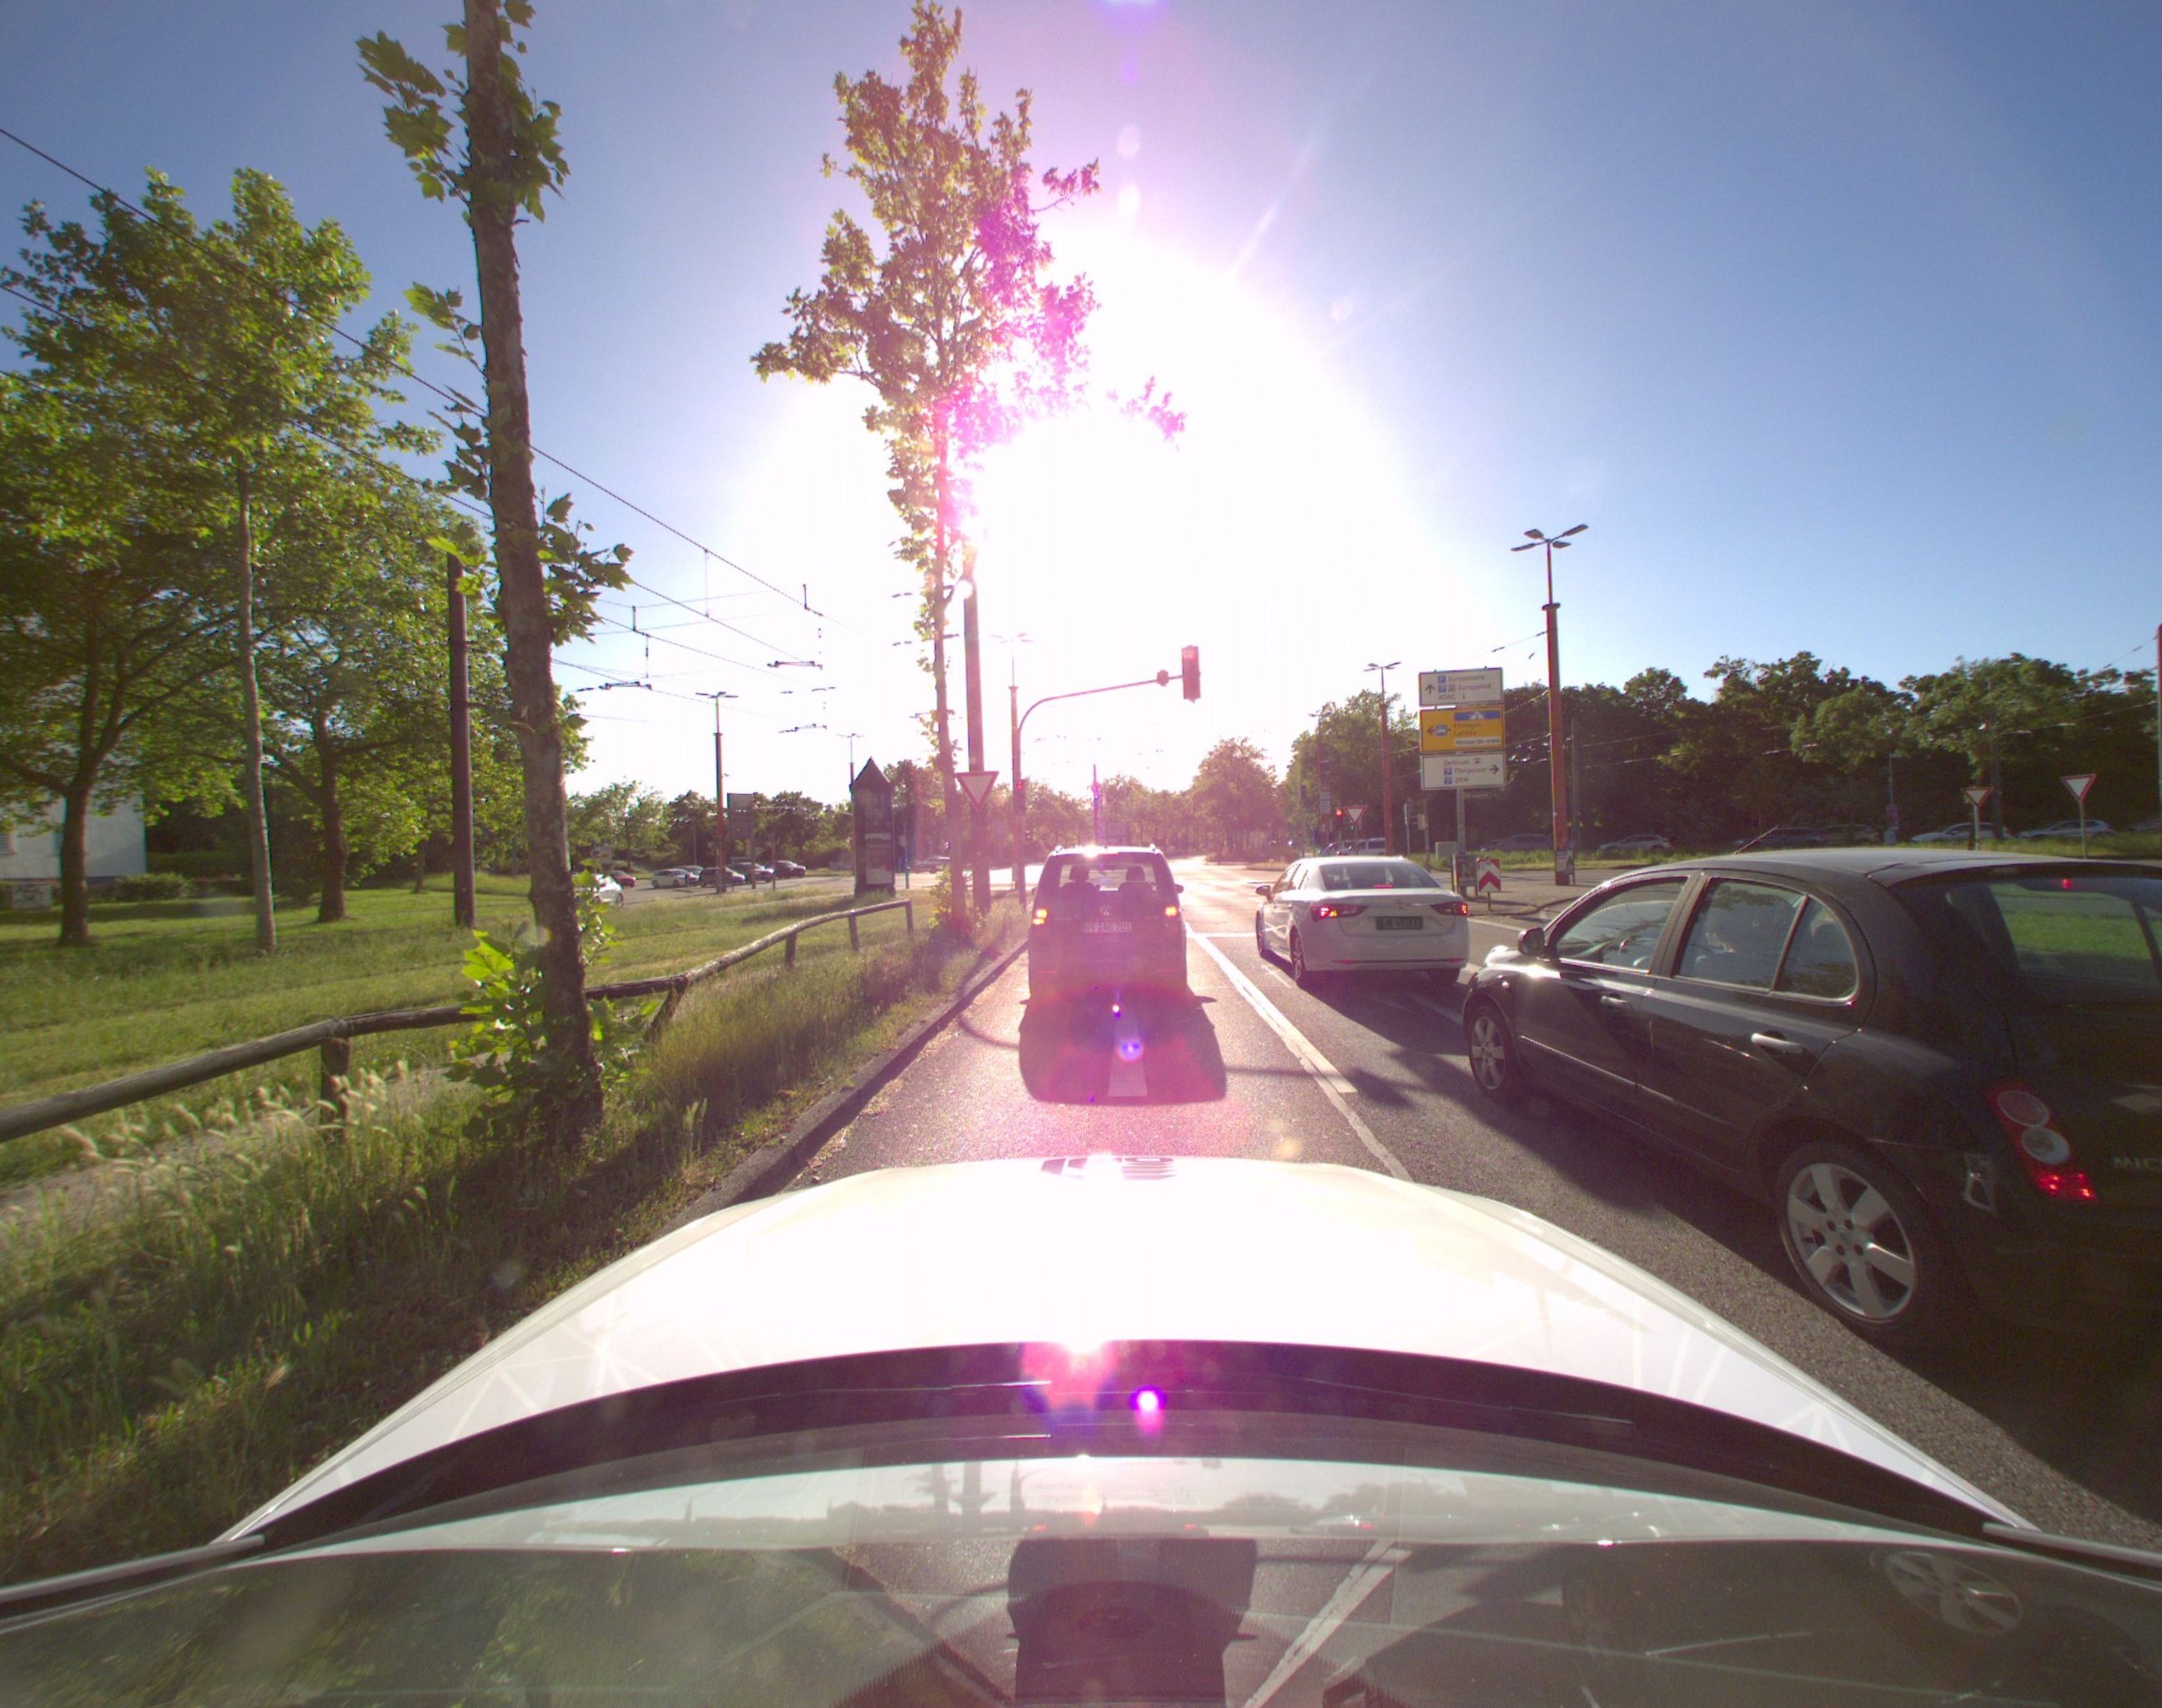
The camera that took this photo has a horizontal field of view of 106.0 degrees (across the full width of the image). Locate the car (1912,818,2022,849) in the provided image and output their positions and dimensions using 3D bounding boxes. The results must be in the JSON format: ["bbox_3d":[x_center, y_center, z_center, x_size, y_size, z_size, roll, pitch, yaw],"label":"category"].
[{"bbox_3d":[49.085,-1.116,45.239,3.782,1.523,1.706,-2,0,31],"label":"car"}]

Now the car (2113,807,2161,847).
[{"bbox_3d":[56.331,-1.413,41.265,4.526,2.013,2.013,-2,0,33],"label":"car"}]

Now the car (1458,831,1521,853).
[{"bbox_3d":[29.825,-0.835,59.448,4.082,1.511,1.834,0,-1,28],"label":"car"}]

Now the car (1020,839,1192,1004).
[{"bbox_3d":[0.304,0.681,10.155,1.694,1.621,3.898,-2,0,1],"label":"car"}]

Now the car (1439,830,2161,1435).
[{"bbox_3d":[3.235,0.685,3.818,1.647,1.500,3.617,-1,0,2],"label":"car"}]

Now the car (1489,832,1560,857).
[{"bbox_3d":[30.253,-0.637,55.631,4.139,1.644,1.770,0,-1,28],"label":"car"}]

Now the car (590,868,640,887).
[{"bbox_3d":[-39.236,1.951,68.577,3.949,1.513,1.743,-2,0,27],"label":"car"}]

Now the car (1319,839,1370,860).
[{"bbox_3d":[20.928,-0.315,64.692,3.608,1.655,1.690,0,-1,27],"label":"car"}]

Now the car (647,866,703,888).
[{"bbox_3d":[-32.392,1.825,64.908,4.135,1.612,1.880,-2,0,27],"label":"car"}]

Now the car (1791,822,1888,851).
[{"bbox_3d":[47.177,-1.056,50.760,4.080,1.644,1.864,-2,0,31],"label":"car"}]

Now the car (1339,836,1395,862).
[{"bbox_3d":[21.331,-0.367,60.754,3.797,1.890,1.774,0,-1,25],"label":"car"}]

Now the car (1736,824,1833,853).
[{"bbox_3d":[42.310,-0.894,49.099,4.080,1.598,1.840,-2,0,29],"label":"car"}]

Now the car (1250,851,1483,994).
[{"bbox_3d":[3.332,0.699,10.373,1.713,1.438,4.202,-1,0,3],"label":"car"}]

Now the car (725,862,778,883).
[{"bbox_3d":[-26.543,1.500,65.574,3.948,1.644,2.013,-2,0,33],"label":"car"}]

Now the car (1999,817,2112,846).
[{"bbox_3d":[54.540,-1.259,45.673,3.700,1.473,1.610,-2,0,28],"label":"car"}]

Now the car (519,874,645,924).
[{"bbox_3d":[-17.924,1.554,29.530,1.799,1.522,4.332,-2,0,1],"label":"car"}]

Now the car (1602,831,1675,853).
[{"bbox_3d":[37.616,-0.794,55.028,3.926,1.441,1.697,0,-1,29],"label":"car"}]

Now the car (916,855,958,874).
[{"bbox_3d":[-13.542,0.994,76.482,4.061,1.656,1.814,-2,0,42],"label":"car"}]

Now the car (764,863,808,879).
[{"bbox_3d":[-26.507,1.505,73.119,3.948,1.330,1.709,-2,0,33],"label":"car"}]
